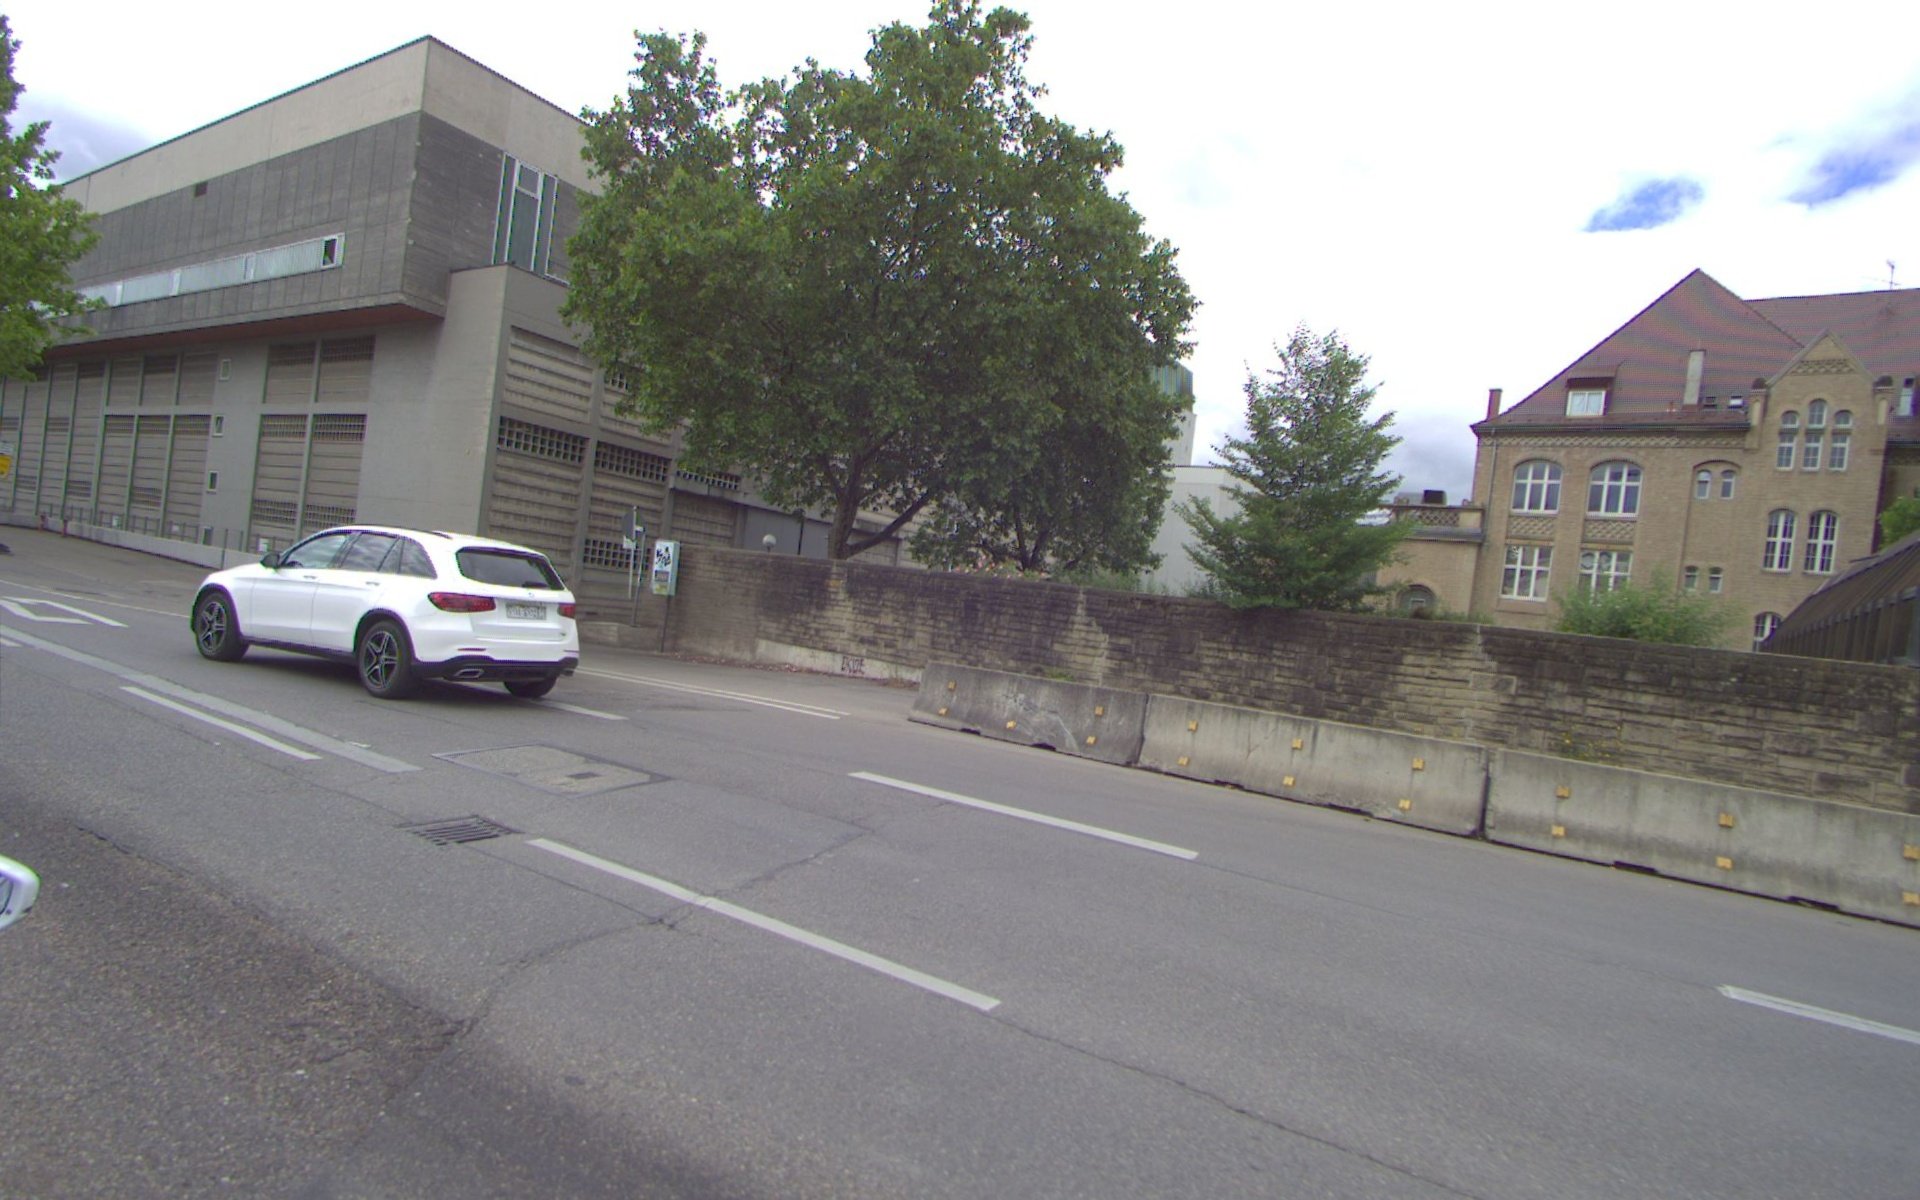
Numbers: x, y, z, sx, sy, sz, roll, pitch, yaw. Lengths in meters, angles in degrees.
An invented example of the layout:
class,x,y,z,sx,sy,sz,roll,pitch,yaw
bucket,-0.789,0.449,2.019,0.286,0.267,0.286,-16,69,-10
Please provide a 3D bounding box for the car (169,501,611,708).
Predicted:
class,x,y,z,sx,sy,sz,roll,pitch,yaw
car,-6.140,-0.001,10.768,4.471,1.663,1.816,6,0,26
